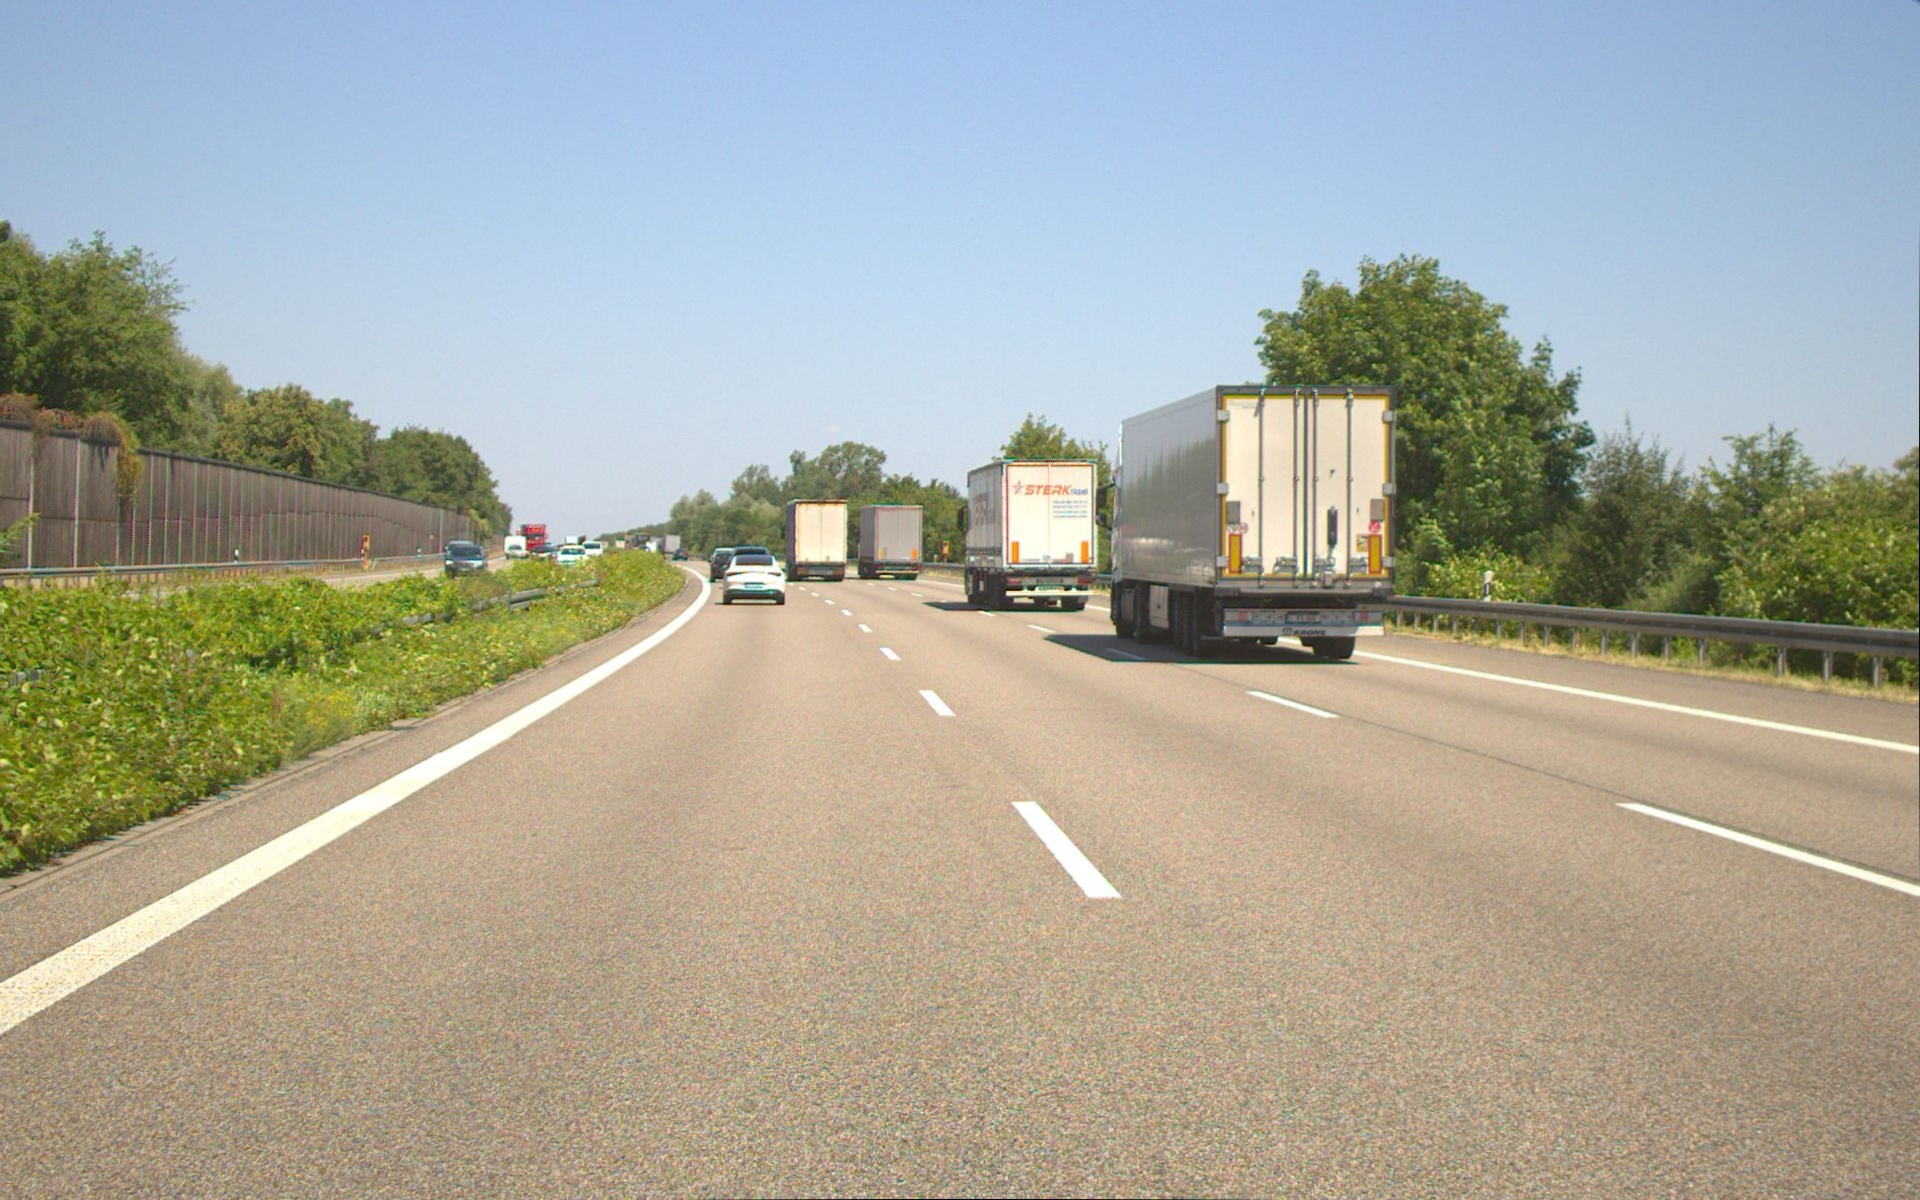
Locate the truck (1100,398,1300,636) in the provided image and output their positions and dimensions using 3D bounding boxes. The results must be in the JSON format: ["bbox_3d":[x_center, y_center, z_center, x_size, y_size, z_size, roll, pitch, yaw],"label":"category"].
[{"bbox_3d":[4.294,-1.486,62.756,2.959,4.092,6.207,1,1,-2],"label":"truck"}]

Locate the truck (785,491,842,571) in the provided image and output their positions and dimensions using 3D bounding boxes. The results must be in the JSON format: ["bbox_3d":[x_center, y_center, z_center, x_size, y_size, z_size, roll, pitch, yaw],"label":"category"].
[{"bbox_3d":[-7.770,-3.608,181.449,2.727,4.072,7.278,2,0,-4],"label":"truck"}]

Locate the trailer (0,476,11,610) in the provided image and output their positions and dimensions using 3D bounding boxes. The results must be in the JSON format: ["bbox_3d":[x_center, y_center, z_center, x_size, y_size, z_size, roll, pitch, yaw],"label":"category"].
[{"bbox_3d":[-20.839,-1.147,68.598,2.242,2.766,6.510,1,1,-2],"label":"trailer"}]

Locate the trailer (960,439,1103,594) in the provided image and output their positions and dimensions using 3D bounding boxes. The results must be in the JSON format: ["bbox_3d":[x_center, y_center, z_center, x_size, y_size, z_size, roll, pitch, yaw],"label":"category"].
[{"bbox_3d":[1.894,-2.302,98.333,2.707,4.074,14.153,1,1,-4],"label":"trailer"}]

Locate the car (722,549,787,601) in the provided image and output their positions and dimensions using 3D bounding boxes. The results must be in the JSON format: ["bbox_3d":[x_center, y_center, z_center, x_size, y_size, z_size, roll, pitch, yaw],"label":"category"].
[{"bbox_3d":[-6.064,-0.757,101.620,1.855,1.481,4.001,1,1,-3],"label":"car"}]

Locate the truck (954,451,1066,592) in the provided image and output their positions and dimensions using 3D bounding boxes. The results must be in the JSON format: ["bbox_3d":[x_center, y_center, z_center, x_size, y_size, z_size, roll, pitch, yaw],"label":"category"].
[{"bbox_3d":[1.452,-2.333,103.884,2.707,4.074,6.965,1,1,-4],"label":"truck"}]

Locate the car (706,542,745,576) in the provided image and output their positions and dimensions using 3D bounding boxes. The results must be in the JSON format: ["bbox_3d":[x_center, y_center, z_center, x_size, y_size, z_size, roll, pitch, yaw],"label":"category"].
[{"bbox_3d":[-11.335,-1.990,166.359,1.855,1.611,4.001,1,1,-3],"label":"car"}]

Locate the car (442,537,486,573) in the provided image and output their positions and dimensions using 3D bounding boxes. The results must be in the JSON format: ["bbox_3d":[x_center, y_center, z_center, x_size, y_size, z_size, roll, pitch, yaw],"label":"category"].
[{"bbox_3d":[-23.127,-2.093,160.462,1.993,1.641,4.694,1,1,-8],"label":"car"}]

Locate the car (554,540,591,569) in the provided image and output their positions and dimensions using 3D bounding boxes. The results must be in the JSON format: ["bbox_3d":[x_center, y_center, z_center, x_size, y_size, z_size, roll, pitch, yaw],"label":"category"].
[{"bbox_3d":[-22.733,-2.698,201.769,1.993,1.641,5.046,1,1,-5],"label":"car"}]

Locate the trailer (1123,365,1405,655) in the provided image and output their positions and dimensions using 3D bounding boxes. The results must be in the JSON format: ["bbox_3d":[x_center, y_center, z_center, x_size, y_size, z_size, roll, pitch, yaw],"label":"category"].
[{"bbox_3d":[4.611,-1.370,55.087,2.959,4.092,12.534,1,1,-2],"label":"trailer"}]

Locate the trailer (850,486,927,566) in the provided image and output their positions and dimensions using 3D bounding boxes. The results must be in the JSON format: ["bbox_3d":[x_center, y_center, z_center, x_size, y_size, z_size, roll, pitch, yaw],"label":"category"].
[{"bbox_3d":[-4.027,-4.035,191.035,2.703,4.201,13.215,2,0,-8],"label":"trailer"}]

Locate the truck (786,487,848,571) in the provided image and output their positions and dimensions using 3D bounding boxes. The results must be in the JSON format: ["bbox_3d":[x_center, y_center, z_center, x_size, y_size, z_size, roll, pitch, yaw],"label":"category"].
[{"bbox_3d":[-7.390,-3.546,176.094,2.706,4.072,13.475,2,0,-4],"label":"truck"}]

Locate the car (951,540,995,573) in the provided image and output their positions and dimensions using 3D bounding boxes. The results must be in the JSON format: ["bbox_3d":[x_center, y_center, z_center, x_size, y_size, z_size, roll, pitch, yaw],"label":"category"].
[{"bbox_3d":[0.631,-2.163,170.404,1.855,1.611,4.001,1,1,-4],"label":"car"}]
